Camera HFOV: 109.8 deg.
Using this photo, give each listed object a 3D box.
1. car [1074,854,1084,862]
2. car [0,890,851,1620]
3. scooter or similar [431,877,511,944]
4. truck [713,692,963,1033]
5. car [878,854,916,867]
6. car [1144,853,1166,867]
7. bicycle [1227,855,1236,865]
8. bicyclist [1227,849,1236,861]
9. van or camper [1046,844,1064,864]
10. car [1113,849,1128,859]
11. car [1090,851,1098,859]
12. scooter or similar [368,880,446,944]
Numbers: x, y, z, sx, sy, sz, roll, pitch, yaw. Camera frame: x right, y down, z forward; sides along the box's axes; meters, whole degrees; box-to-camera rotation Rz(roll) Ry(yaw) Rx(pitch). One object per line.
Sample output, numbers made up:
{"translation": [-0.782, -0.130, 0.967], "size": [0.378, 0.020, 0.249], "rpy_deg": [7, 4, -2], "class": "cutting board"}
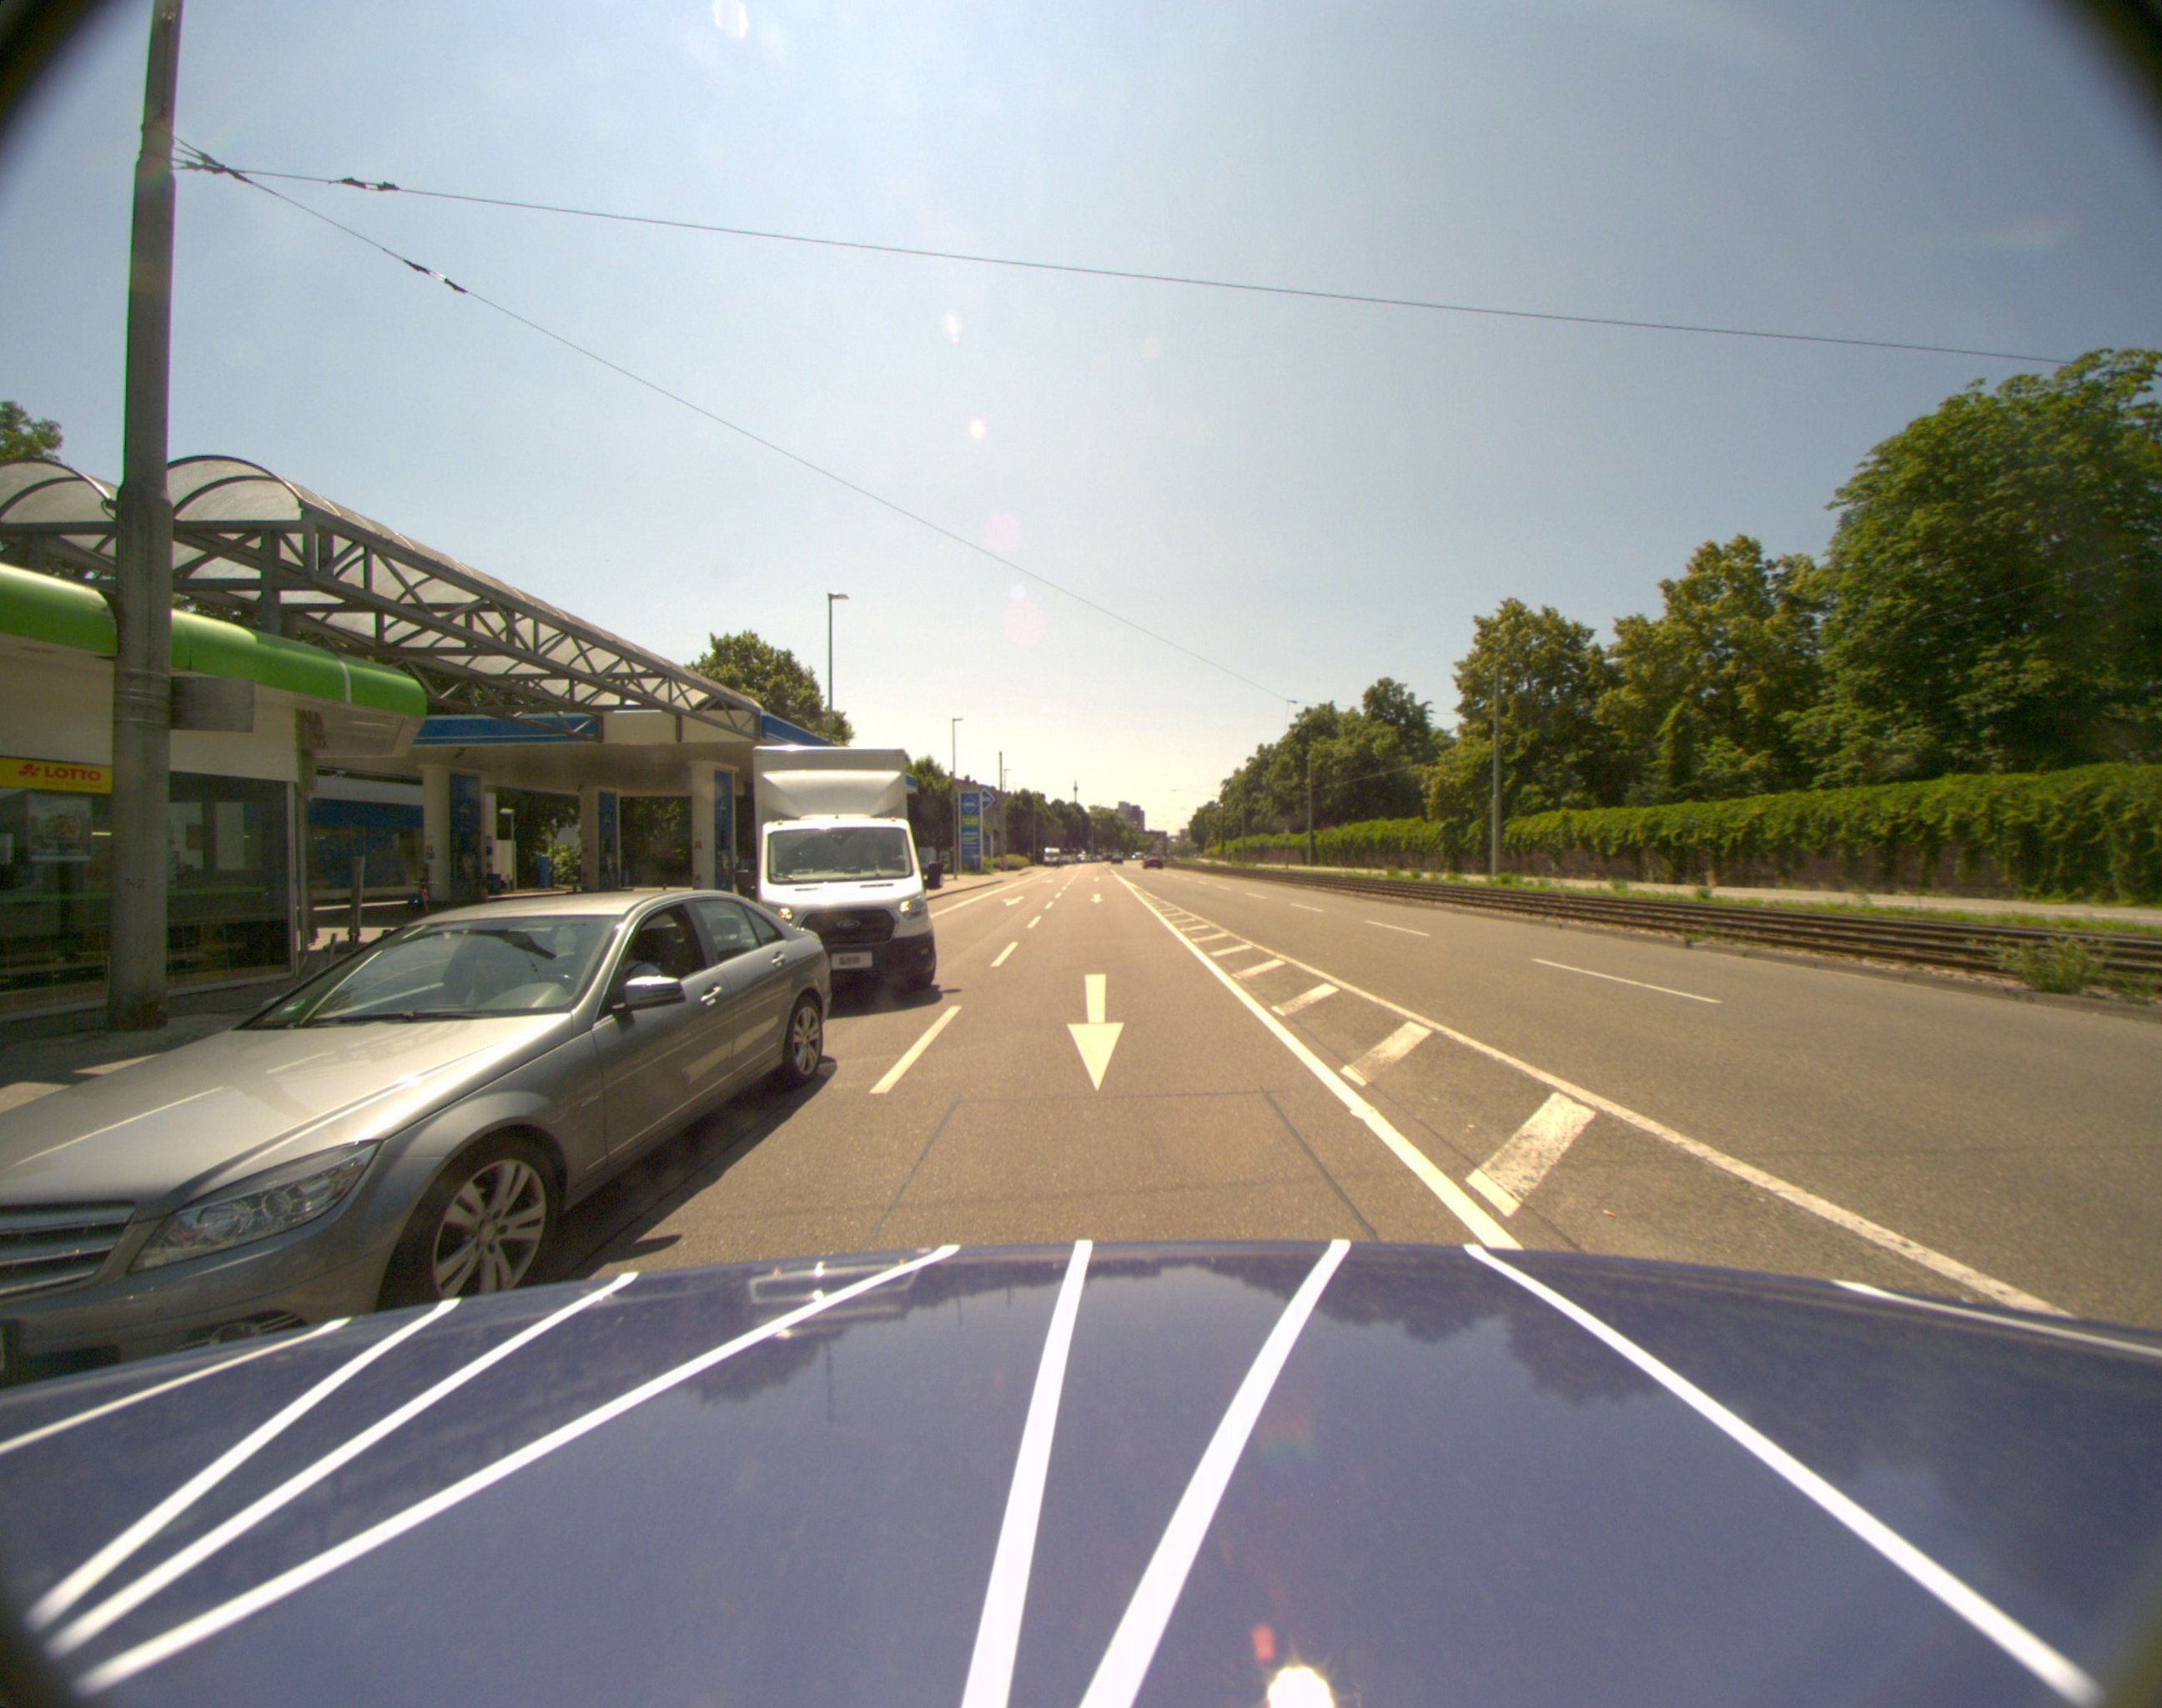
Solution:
{"translation": [-0.443, 0.808, 150.576], "size": [1.725, 1.586, 4.001], "rpy_deg": [-1, 0, 4], "class": "car"}
{"translation": [-2.853, 1.037, 3.962], "size": [1.800, 1.441, 4.418], "rpy_deg": [-1, 0, 2], "class": "car"}
{"translation": [-11.621, 1.070, 14.478], "size": [1.176, 1.233, 0.412], "rpy_deg": [-1, 1, 2], "class": "scooter or similar"}
{"translation": [-3.867, 0.078, 11.614], "size": [2.430, 3.372, 7.819], "rpy_deg": [-1, 0, -21], "class": "truck"}
{"translation": [-23.360, 0.838, 96.485], "size": [4.221, 1.512, 2.001], "rpy_deg": [-1, 0, 9], "class": "car"}
{"translation": [7.730, 0.625, 79.479], "size": [1.989, 1.350, 4.538], "rpy_deg": [-1, 0, 2], "class": "car"}
{"translation": [18.967, 0.769, 95.821], "size": [0.830, 1.149, 2.686], "rpy_deg": [-1, 0, 5], "class": "bicycle"}
{"translation": [18.957, 0.119, 95.878], "size": [0.996, 1.477, 1.000], "rpy_deg": [-1, 1, 6], "class": "bicyclist"}
{"translation": [-3.496, 0.010, 101.801], "size": [2.126, 2.469, 5.993], "rpy_deg": [2, 0, 0], "class": "van or camper"}
{"translation": [6.107, -0.022, 117.796], "size": [1.998, 1.608, 4.000], "rpy_deg": [-1, 0, 1], "class": "car"}
{"translation": [2.909, 0.241, 170.553], "size": [1.806, 1.585, 4.000], "rpy_deg": [-1, 0, 2], "class": "car"}
{"translation": [-12.854, 1.101, 14.503], "size": [1.138, 1.170, 0.384], "rpy_deg": [-1, 1, 2], "class": "scooter or similar"}
